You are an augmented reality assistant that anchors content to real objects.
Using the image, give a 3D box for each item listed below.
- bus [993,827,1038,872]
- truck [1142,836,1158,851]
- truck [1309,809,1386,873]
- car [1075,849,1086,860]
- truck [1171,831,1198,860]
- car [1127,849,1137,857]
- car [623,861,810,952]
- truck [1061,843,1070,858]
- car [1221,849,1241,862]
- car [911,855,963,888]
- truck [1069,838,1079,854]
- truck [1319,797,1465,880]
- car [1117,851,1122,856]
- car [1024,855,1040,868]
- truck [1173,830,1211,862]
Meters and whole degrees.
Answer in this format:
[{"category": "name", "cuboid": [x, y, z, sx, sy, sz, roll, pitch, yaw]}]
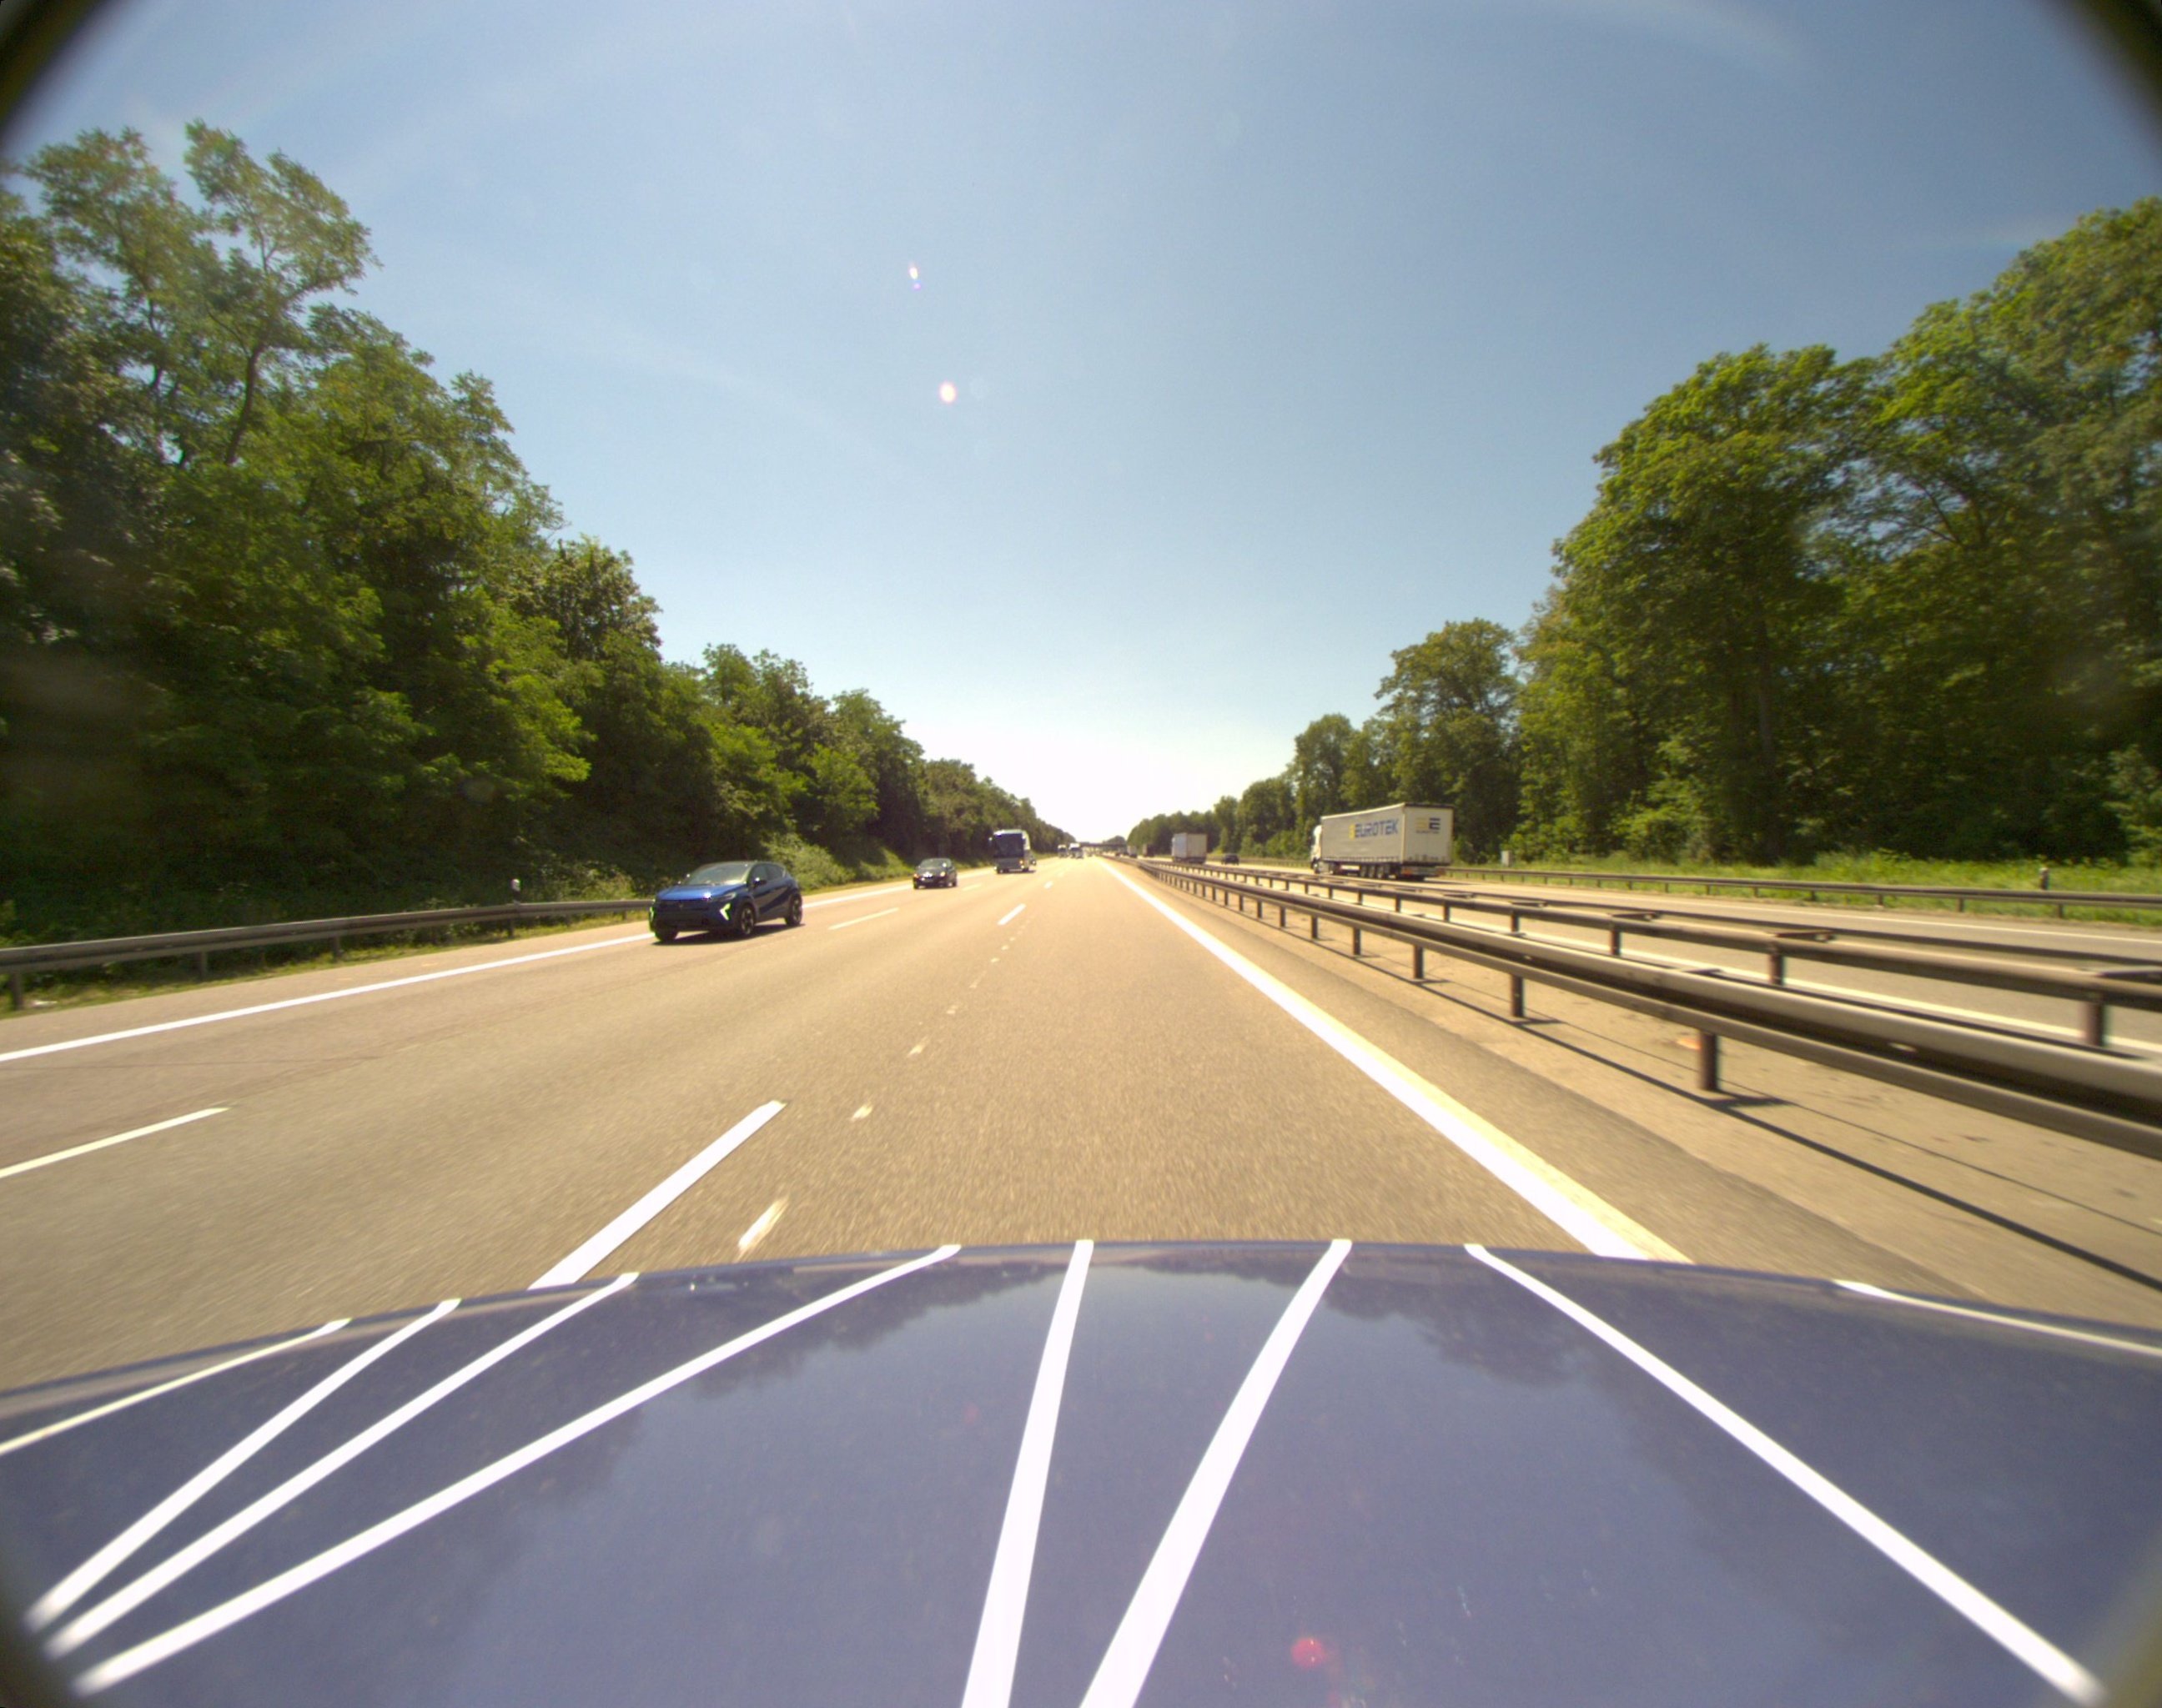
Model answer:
[{"category": "bus", "cuboid": [-5.656, -0.442, 67.939, 2.617, 3.532, 13.680, -2, 1, 1]}, {"category": "truck", "cuboid": [20.722, -3.254, 229.092, 3.332, 4.317, 13.908, -2, 1, 0]}, {"category": "truck", "cuboid": [18.233, -0.883, 52.437, 2.977, 4.039, 6.458, 2, 1, 1]}, {"category": "car", "cuboid": [-0.165, 0.142, 186.408, 2.616, 2.389, 7.122, -2, 1, 0]}, {"category": "truck", "cuboid": [14.831, -1.205, 108.946, 2.994, 3.995, 6.040, -2, 1, 0]}, {"category": "car", "cuboid": [11.338, -0.266, 168.369, 1.811, 1.582, 4.668, -2, 1, 1]}, {"category": "car", "cuboid": [-7.568, 1.009, 16.328, 1.875, 1.547, 4.201, -2, 1, 1]}, {"category": "truck", "cuboid": [-4.930, -1.070, 246.444, 2.616, 4.638, 10.960, -2, 1, 0]}, {"category": "car", "cuboid": [18.988, 0.180, 96.164, 1.829, 1.527, 4.010, 0, 1, 2]}, {"category": "car", "cuboid": [-7.226, 0.851, 38.483, 1.674, 1.439, 4.573, -2, 1, 0]}, {"category": "truck", "cuboid": [-2.077, -2.333, 220.731, 2.616, 4.638, 10.960, -2, 1, 0]}, {"category": "truck", "cuboid": [18.237, -0.877, 46.201, 3.074, 4.227, 13.958, 1, 1, 0]}, {"category": "car", "cuboid": [12.675, -0.168, 249.784, 1.736, 1.576, 4.644, -2, 1, 2]}, {"category": "car", "cuboid": [-6.654, 1.029, 103.182, 1.814, 1.607, 3.999, -1, 1, 1]}, {"category": "truck", "cuboid": [14.835, -1.117, 102.398, 2.994, 3.995, 13.934, -2, 1, 0]}]
